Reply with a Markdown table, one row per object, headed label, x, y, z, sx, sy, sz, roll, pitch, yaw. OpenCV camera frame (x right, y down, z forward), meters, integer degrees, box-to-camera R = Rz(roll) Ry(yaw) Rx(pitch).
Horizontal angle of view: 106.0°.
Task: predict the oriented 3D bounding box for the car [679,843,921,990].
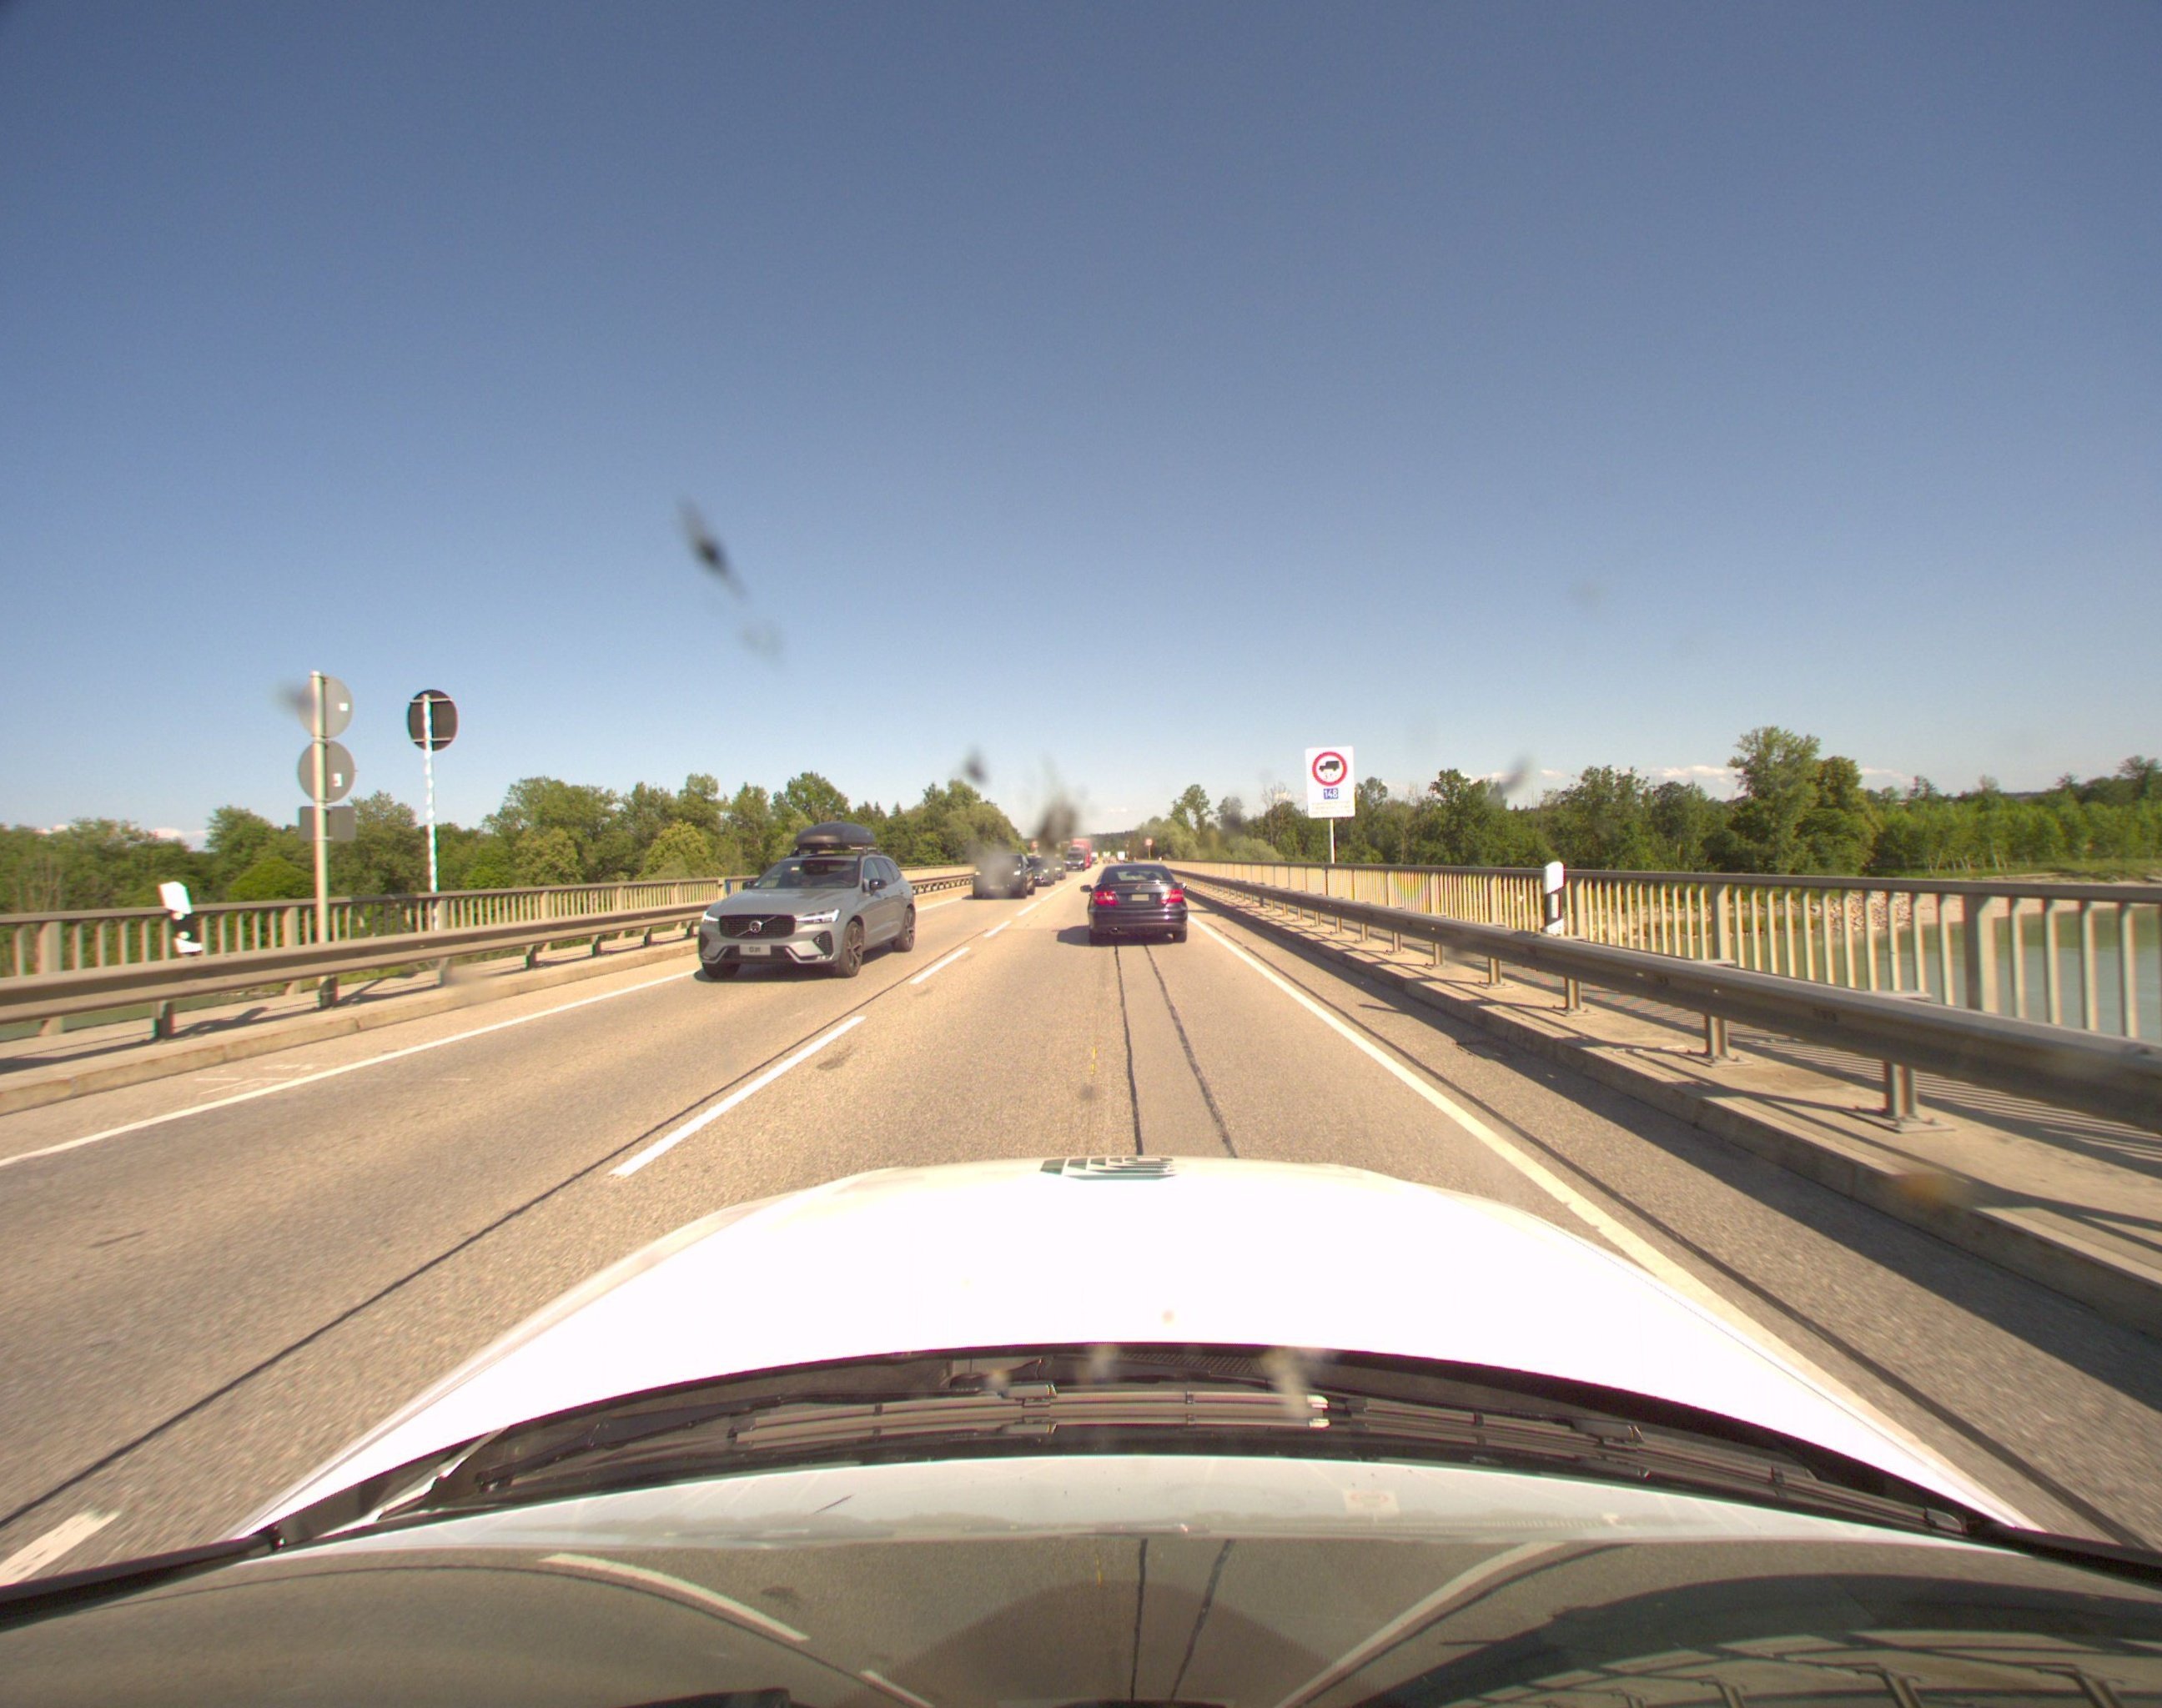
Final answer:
| label | x | y | z | sx | sy | sz | roll | pitch | yaw |
| --- | --- | --- | --- | --- | --- | --- | --- | --- | --- |
| car | -3.802 | 0.753 | 11.987 | 1.847 | 1.722 | 4.567 | -1 | 0 | 1 |

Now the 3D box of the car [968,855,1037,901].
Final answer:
| label | x | y | z | sx | sy | sz | roll | pitch | yaw |
| --- | --- | --- | --- | --- | --- | --- | --- | --- | --- |
| car | -2.942 | 0.900 | 31.614 | 2.046 | 1.653 | 4.723 | 0 | -1 | 2 |

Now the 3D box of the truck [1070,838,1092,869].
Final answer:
| label | x | y | z | sx | sy | sz | roll | pitch | yaw |
| --- | --- | --- | --- | --- | --- | --- | --- | --- | --- |
| truck | -0.008 | -0.100 | 113.178 | 2.900 | 4.184 | 5.710 | 0 | 0 | -1 |

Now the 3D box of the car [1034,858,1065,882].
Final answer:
| label | x | y | z | sx | sy | sz | roll | pitch | yaw |
| --- | --- | --- | --- | --- | --- | --- | --- | --- | --- |
| car | -2.101 | 1.045 | 55.933 | 1.868 | 1.584 | 4.275 | 0 | 0 | 1 |

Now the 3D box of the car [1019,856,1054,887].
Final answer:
| label | x | y | z | sx | sy | sz | roll | pitch | yaw |
| --- | --- | --- | --- | --- | --- | --- | --- | --- | --- |
| car | -2.374 | 0.930 | 44.443 | 1.801 | 1.577 | 4.198 | 0 | 0 | -2 |

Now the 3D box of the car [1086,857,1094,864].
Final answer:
| label | x | y | z | sx | sy | sz | roll | pitch | yaw |
| --- | --- | --- | --- | --- | --- | --- | --- | --- | --- |
| car | 2.214 | 1.633 | 198.295 | 1.835 | 1.642 | 4.576 | -1 | -1 | 0 |

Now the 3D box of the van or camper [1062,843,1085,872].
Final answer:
| label | x | y | z | sx | sy | sz | roll | pitch | yaw |
| --- | --- | --- | --- | --- | --- | --- | --- | --- | --- |
| van or camper | -0.761 | 0.404 | 91.427 | 2.307 | 3.051 | 6.818 | -1 | 0 | 1 |

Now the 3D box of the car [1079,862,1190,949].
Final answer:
| label | x | y | z | sx | sy | sz | roll | pitch | yaw |
| --- | --- | --- | --- | --- | --- | --- | --- | --- | --- |
| car | 0.975 | 0.860 | 15.225 | 1.786 | 1.376 | 4.003 | -1 | 0 | 3 |
